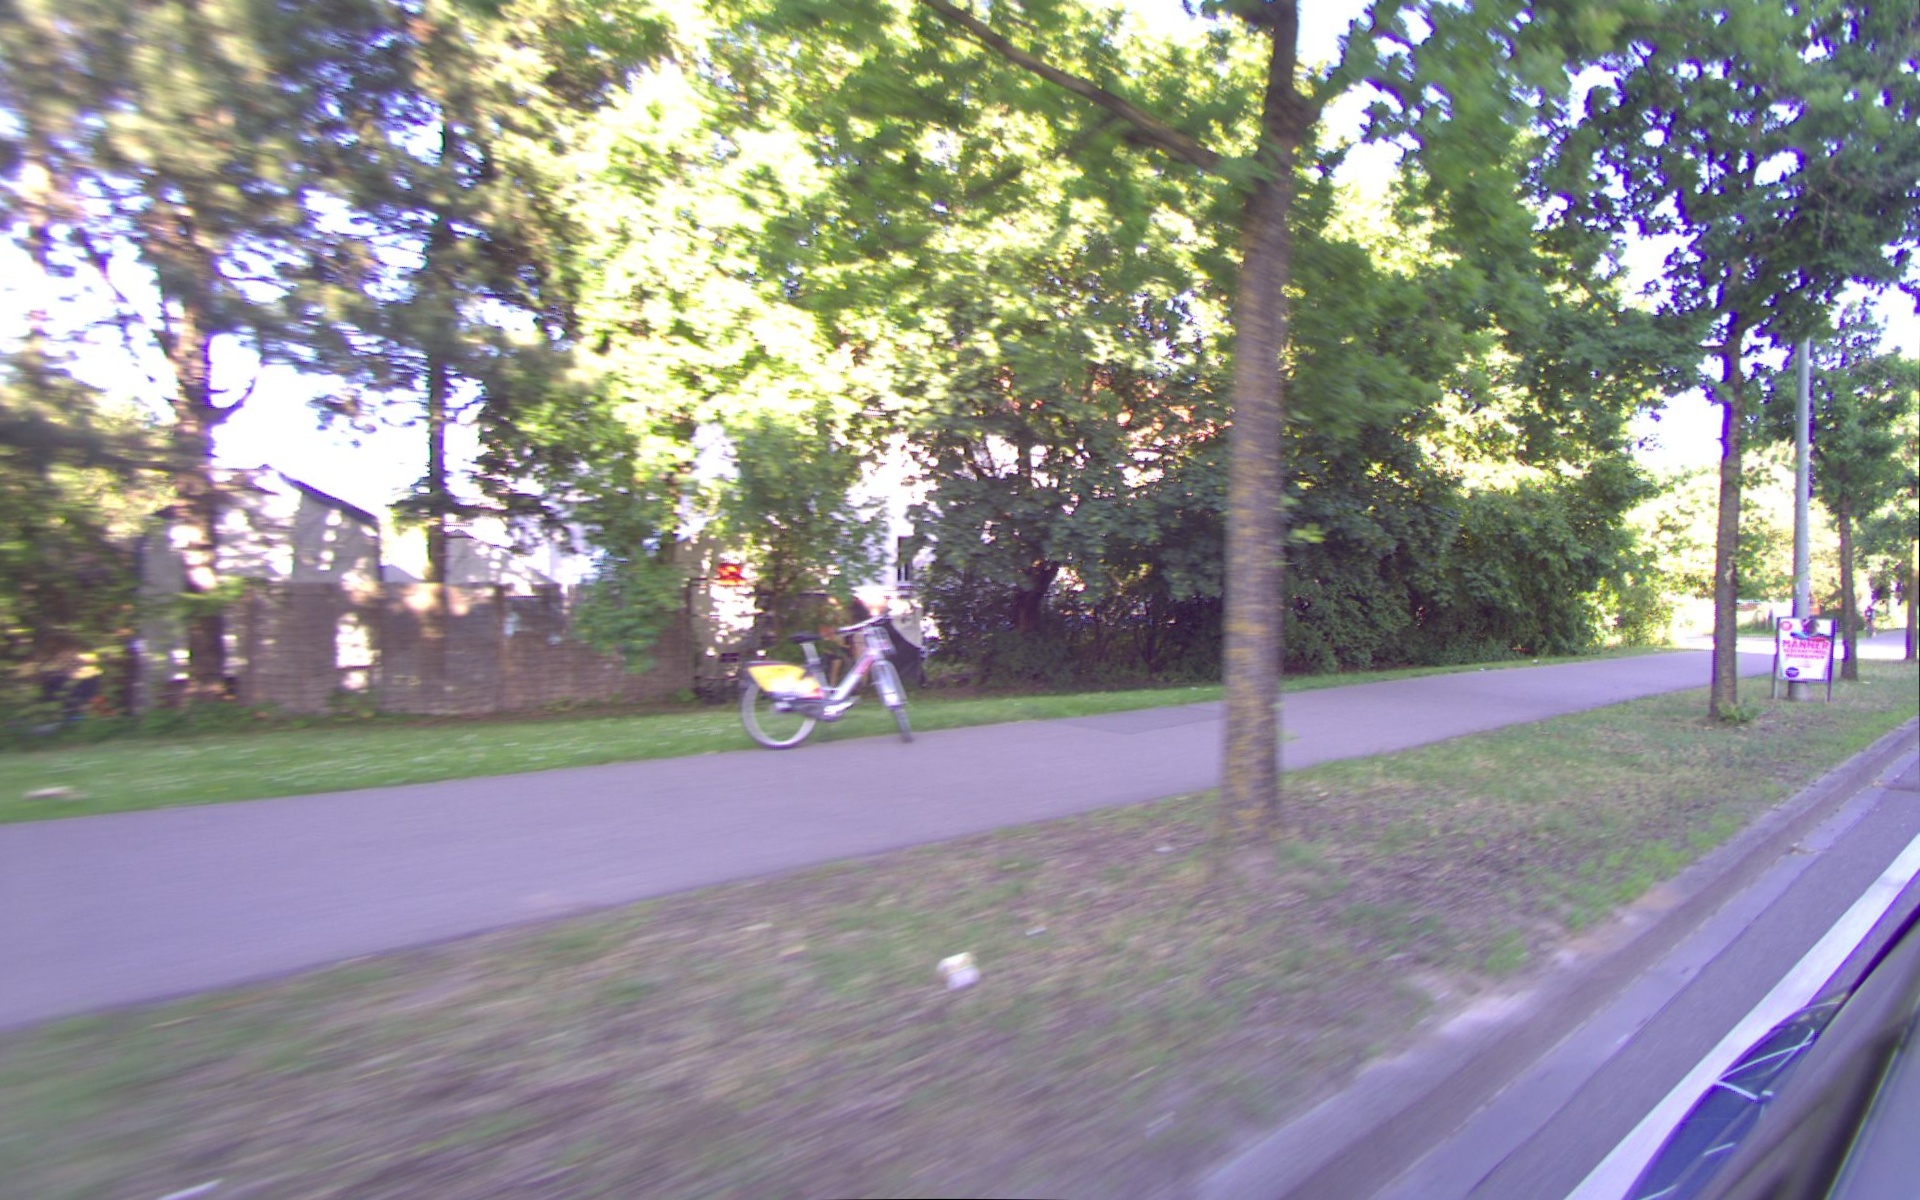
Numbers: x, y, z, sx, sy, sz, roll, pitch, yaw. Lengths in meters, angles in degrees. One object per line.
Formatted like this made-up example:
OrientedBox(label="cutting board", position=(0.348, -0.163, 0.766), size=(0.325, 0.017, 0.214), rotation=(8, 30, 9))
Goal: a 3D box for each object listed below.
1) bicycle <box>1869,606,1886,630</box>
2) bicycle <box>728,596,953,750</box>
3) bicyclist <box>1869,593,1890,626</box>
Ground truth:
OrientedBox(label="bicycle", position=(44.191, 0.865, 48.734), size=(1.904, 1.086, 0.516), rotation=(0, 1, -45))
OrientedBox(label="bicycle", position=(-0.974, 0.542, 8.376), size=(1.675, 1.145, 0.776), rotation=(0, 0, -34))
OrientedBox(label="bicyclist", position=(44.273, 0.445, 48.717), size=(1.019, 1.541, 0.685), rotation=(0, 0, -44))
